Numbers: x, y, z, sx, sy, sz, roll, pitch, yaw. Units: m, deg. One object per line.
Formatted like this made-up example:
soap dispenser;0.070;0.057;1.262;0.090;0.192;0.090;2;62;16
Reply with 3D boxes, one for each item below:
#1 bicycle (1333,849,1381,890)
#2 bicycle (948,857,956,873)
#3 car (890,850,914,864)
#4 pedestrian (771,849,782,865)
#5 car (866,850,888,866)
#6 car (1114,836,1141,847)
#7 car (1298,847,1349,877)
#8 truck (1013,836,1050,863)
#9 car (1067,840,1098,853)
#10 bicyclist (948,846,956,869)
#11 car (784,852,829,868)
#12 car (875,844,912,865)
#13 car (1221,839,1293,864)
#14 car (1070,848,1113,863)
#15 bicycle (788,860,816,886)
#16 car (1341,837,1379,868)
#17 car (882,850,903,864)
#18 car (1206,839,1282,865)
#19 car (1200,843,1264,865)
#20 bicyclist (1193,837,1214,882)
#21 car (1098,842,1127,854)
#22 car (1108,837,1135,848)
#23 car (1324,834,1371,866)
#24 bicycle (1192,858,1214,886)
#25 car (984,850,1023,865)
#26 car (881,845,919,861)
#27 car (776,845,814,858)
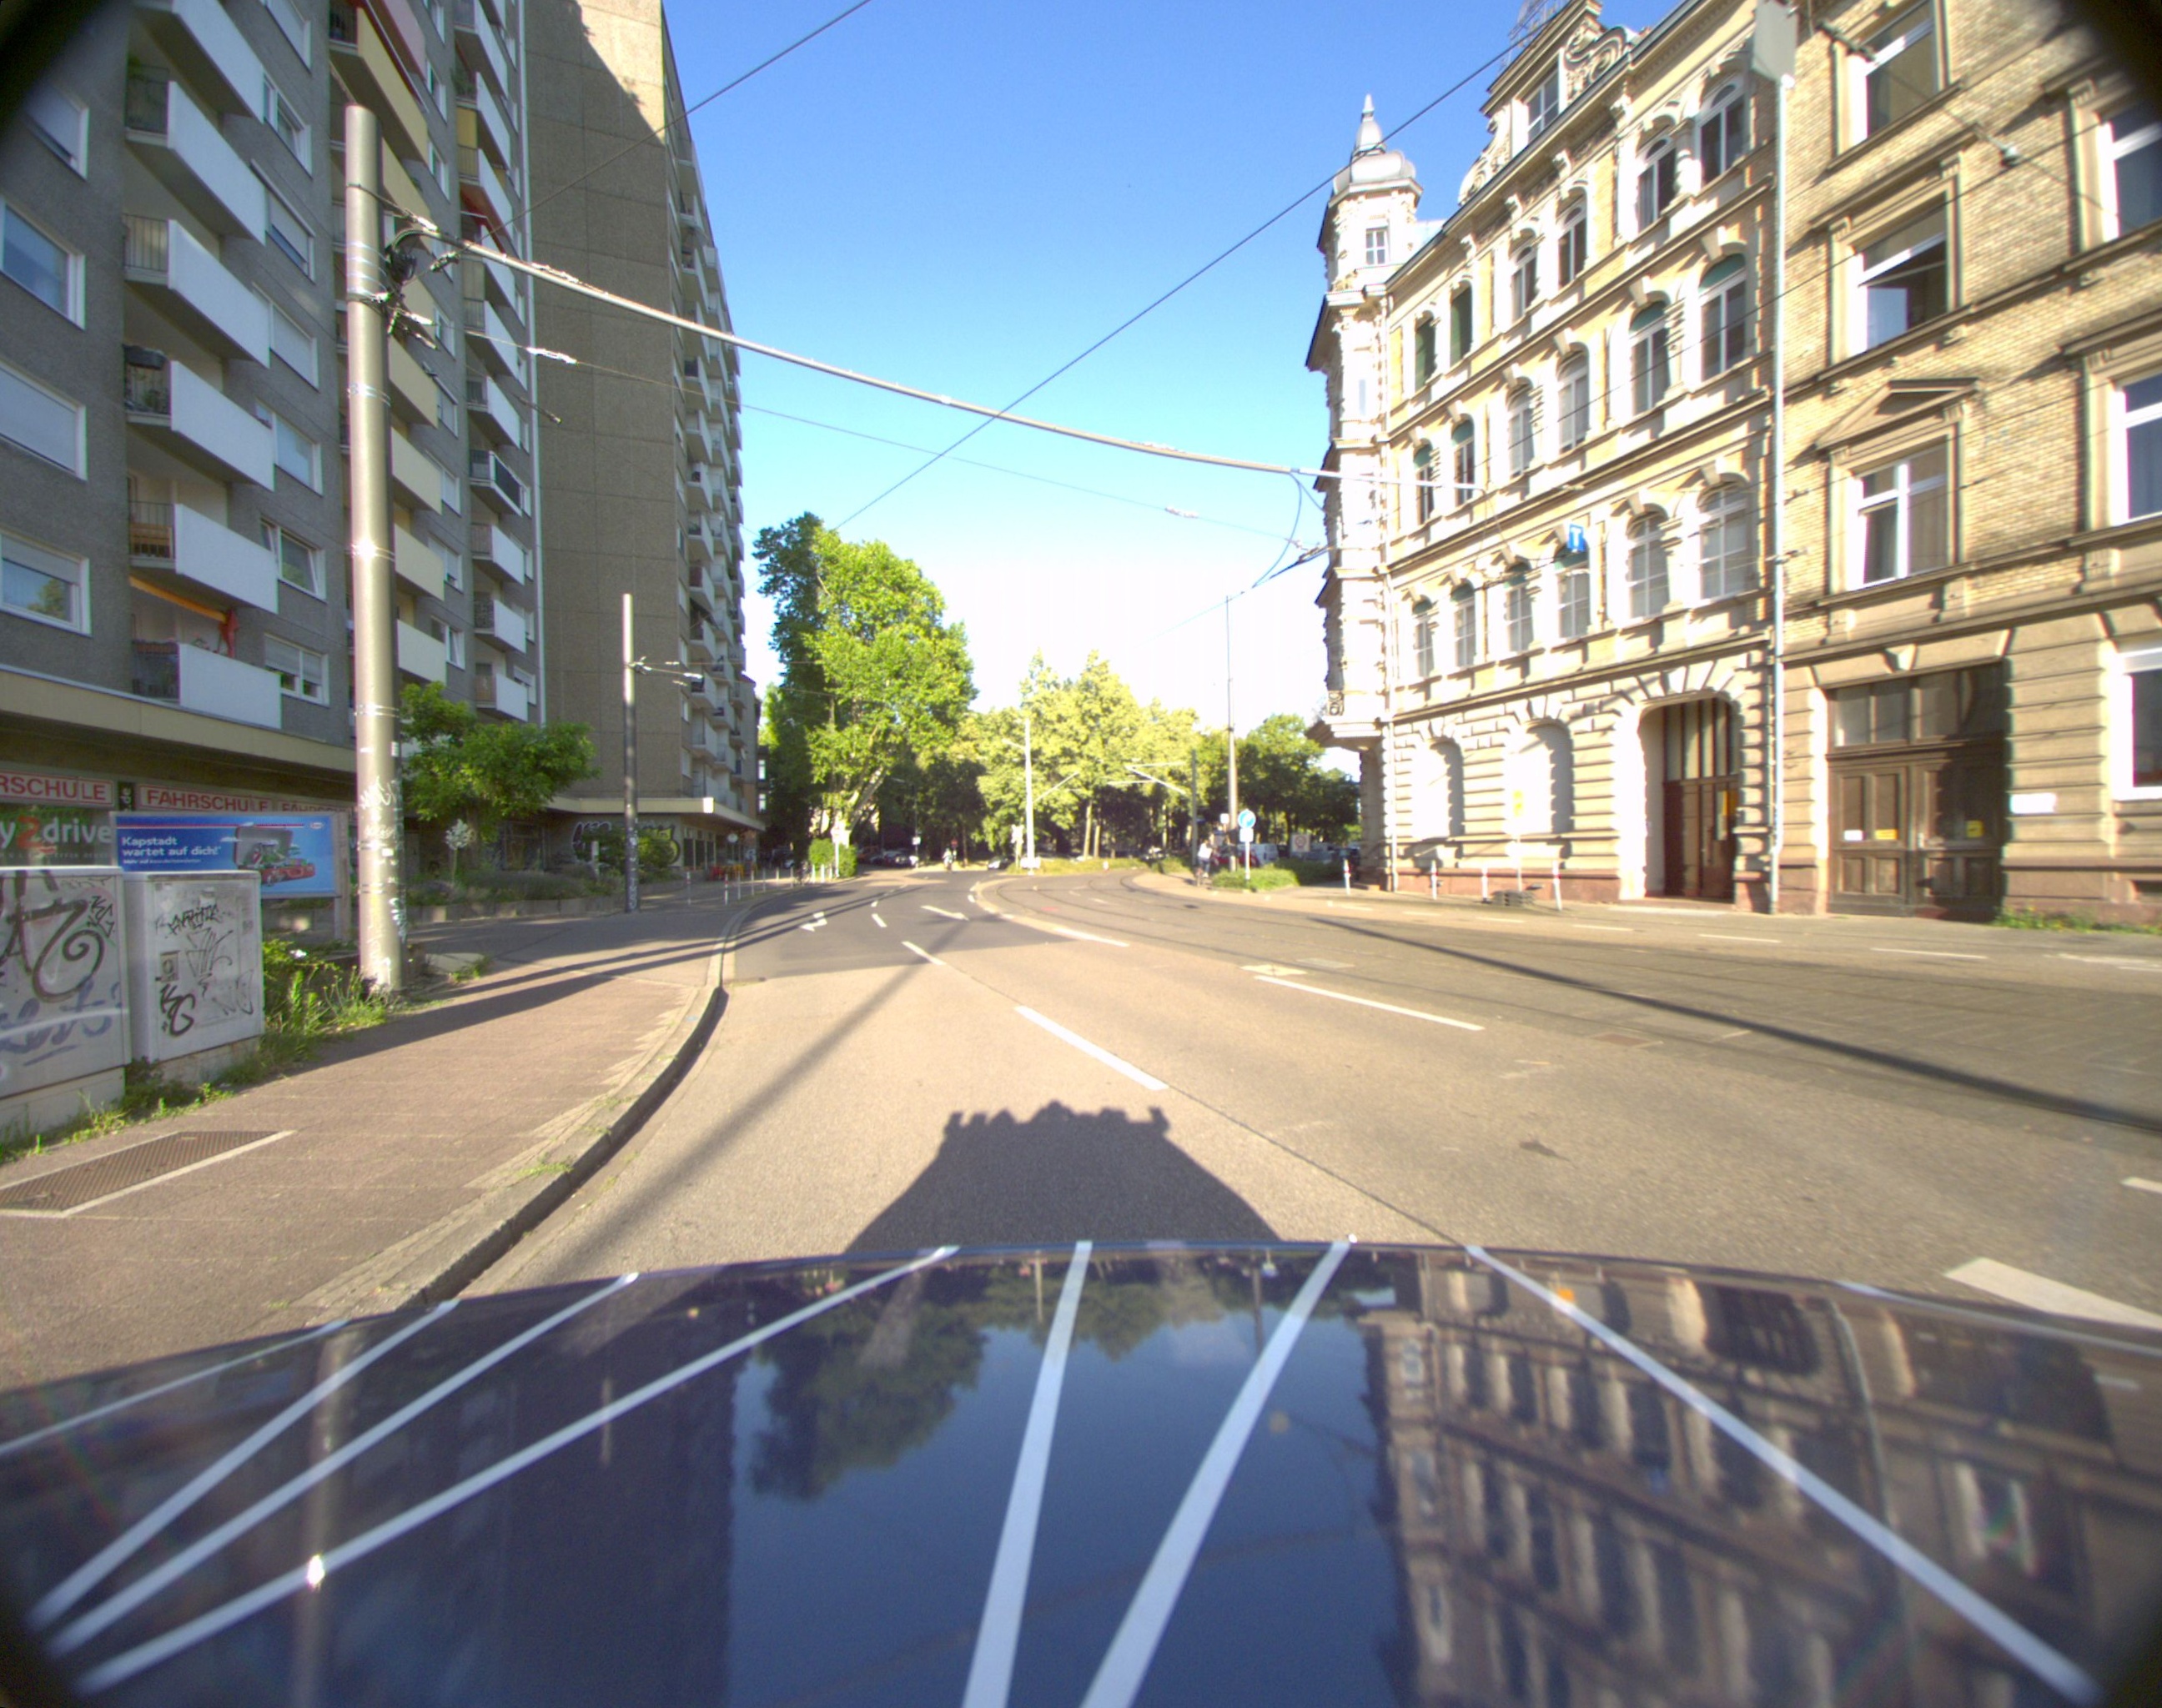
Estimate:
bicycle;9.238;0.481;25.351;0.643;1.259;2.694;0;1;39
bicycle;-9.823;0.803;57.925;0.611;1.168;1.950;-1;1;-9
car;-18.470;0.294;78.213;1.743;1.440;3.623;-1;1;-25
pedestrian;-38.497;0.338;96.012;1.215;2.002;1.204;-1;1;-26
car;-25.791;0.496;96.057;1.774;1.846;4.219;-1;1;-27
car;7.635;-2.002;125.346;3.988;1.740;1.889;0;1;41
car;12.219;0.358;38.151;1.733;1.406;3.440;-1;1;30
truck;-5.197;-0.459;80.702;1.995;2.767;4.891;-1;1;22
car;0.230;-1.116;111.841;2.004;1.740;4.431;-2;1;-42
bicyclist;-9.834;0.251;57.910;0.607;1.753;1.059;-1;1;-9
car;-27.383;0.571;75.754;4.005;1.499;1.882;-1;1;-27
car;-22.270;0.092;90.215;3.932;2.392;1.531;-1;1;-28
car;13.441;-0.198;58.149;5.044;1.798;2.004;0;1;42
car;1.001;0.129;70.831;3.678;1.346;1.744;0;1;38
bicycle;-13.313;0.893;36.343;0.610;1.128;2.279;-1;1;-3
car;19.166;-0.143;52.041;1.995;2.002;4.643;-1;1;25
car;-20.705;0.278;83.245;1.537;1.440;3.918;-1;1;-25
car;11.822;-0.150;55.345;5.044;1.778;2.004;0;1;42
car;10.588;0.002;53.438;3.988;1.499;1.872;0;1;42
bicyclist;5.075;0.235;31.501;0.729;1.829;1.214;-1;0;14
car;5.007;-0.933;120.413;4.344;1.696;2.004;0;1;42
car;6.489;-1.862;122.855;3.988;1.740;1.889;0;1;41
car;14.750;-0.236;41.978;1.733;1.652;4.007;0;1;30
bicycle;5.075;0.737;31.474;0.727;1.077;2.119;-1;0;13
car;-7.678;0.333;75.772;1.945;1.390;4.007;-1;1;29
car;-21.034;-0.099;88.328;3.932;1.751;1.531;-1;1;-28
car;-34.470;-0.349;91.569;4.005;1.499;1.882;-1;1;-27
